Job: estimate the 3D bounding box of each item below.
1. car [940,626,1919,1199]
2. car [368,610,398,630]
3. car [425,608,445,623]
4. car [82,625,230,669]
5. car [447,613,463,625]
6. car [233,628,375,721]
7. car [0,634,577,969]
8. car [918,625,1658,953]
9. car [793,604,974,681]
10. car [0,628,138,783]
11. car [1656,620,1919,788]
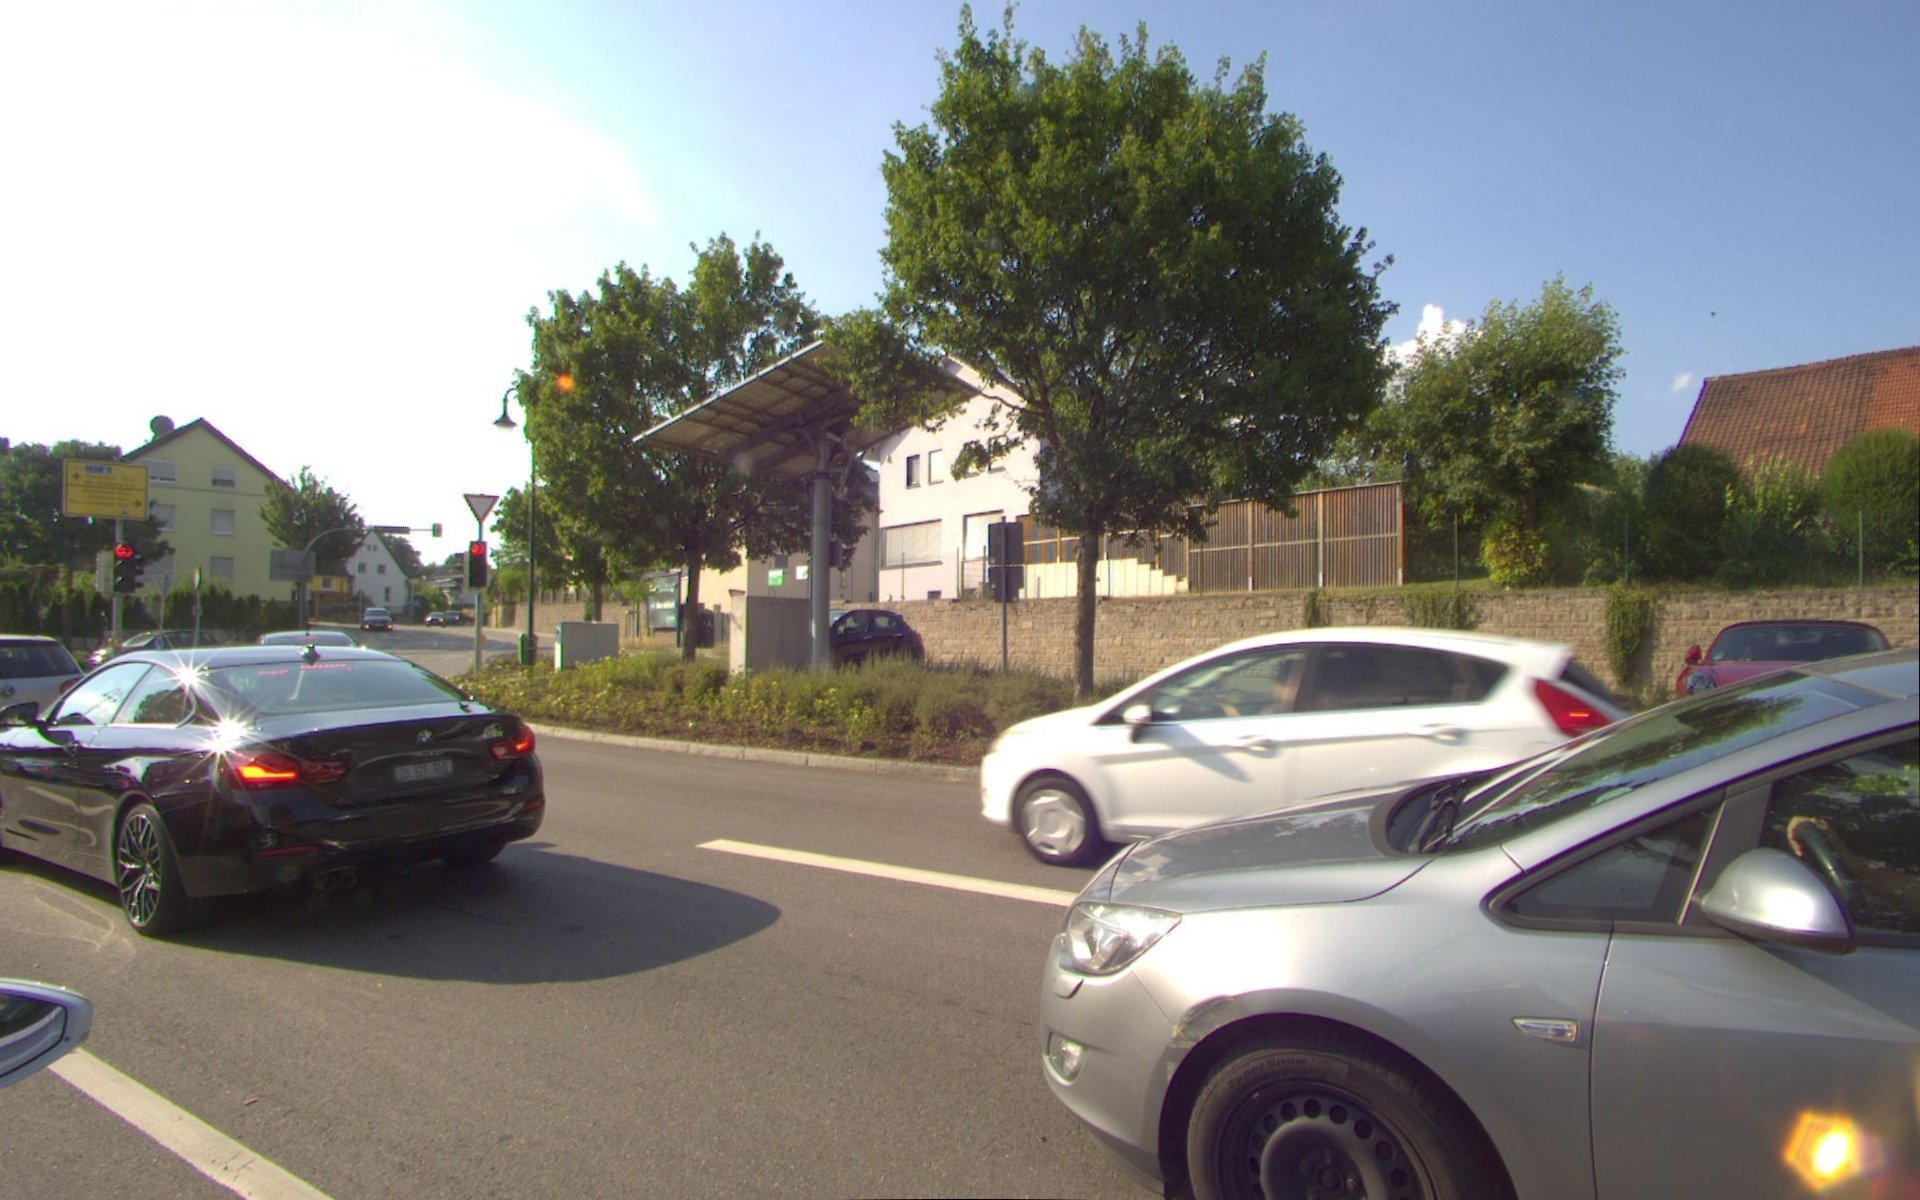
[{"bbox_3d":[2.140,0.792,2.207,4.107,1.460,1.741,-1,-2,32],"label":"car"},{"bbox_3d":[-38.709,1.312,67.177,1.692,1.260,3.978,1,-1,-30],"label":"car"},{"bbox_3d":[-59.578,1.801,113.743,1.754,1.600,3.987,1,-2,-24],"label":"car"},{"bbox_3d":[-30.090,1.737,37.634,1.759,1.526,4.065,0,-2,17],"label":"car"},{"bbox_3d":[-68.077,2.612,135.081,1.753,1.600,3.987,1,-2,-24],"label":"car"},{"bbox_3d":[-11.784,1.224,17.850,1.667,1.454,4.553,1,-2,-39],"label":"car"},{"bbox_3d":[-4.480,0.922,6.224,4.287,1.406,1.812,-1,-2,34],"label":"car"},{"bbox_3d":[1.870,0.901,6.296,4.010,1.469,1.726,-1,-2,32],"label":"car"},{"bbox_3d":[-1.701,0.965,23.117,1.835,1.628,3.964,-1,-2,45],"label":"car"},{"bbox_3d":[-10.774,1.037,10.791,4.287,1.465,1.812,-1,-2,34],"label":"car"},{"bbox_3d":[8.225,0.869,9.673,1.835,1.288,3.964,-1,-2,45],"label":"car"}]
